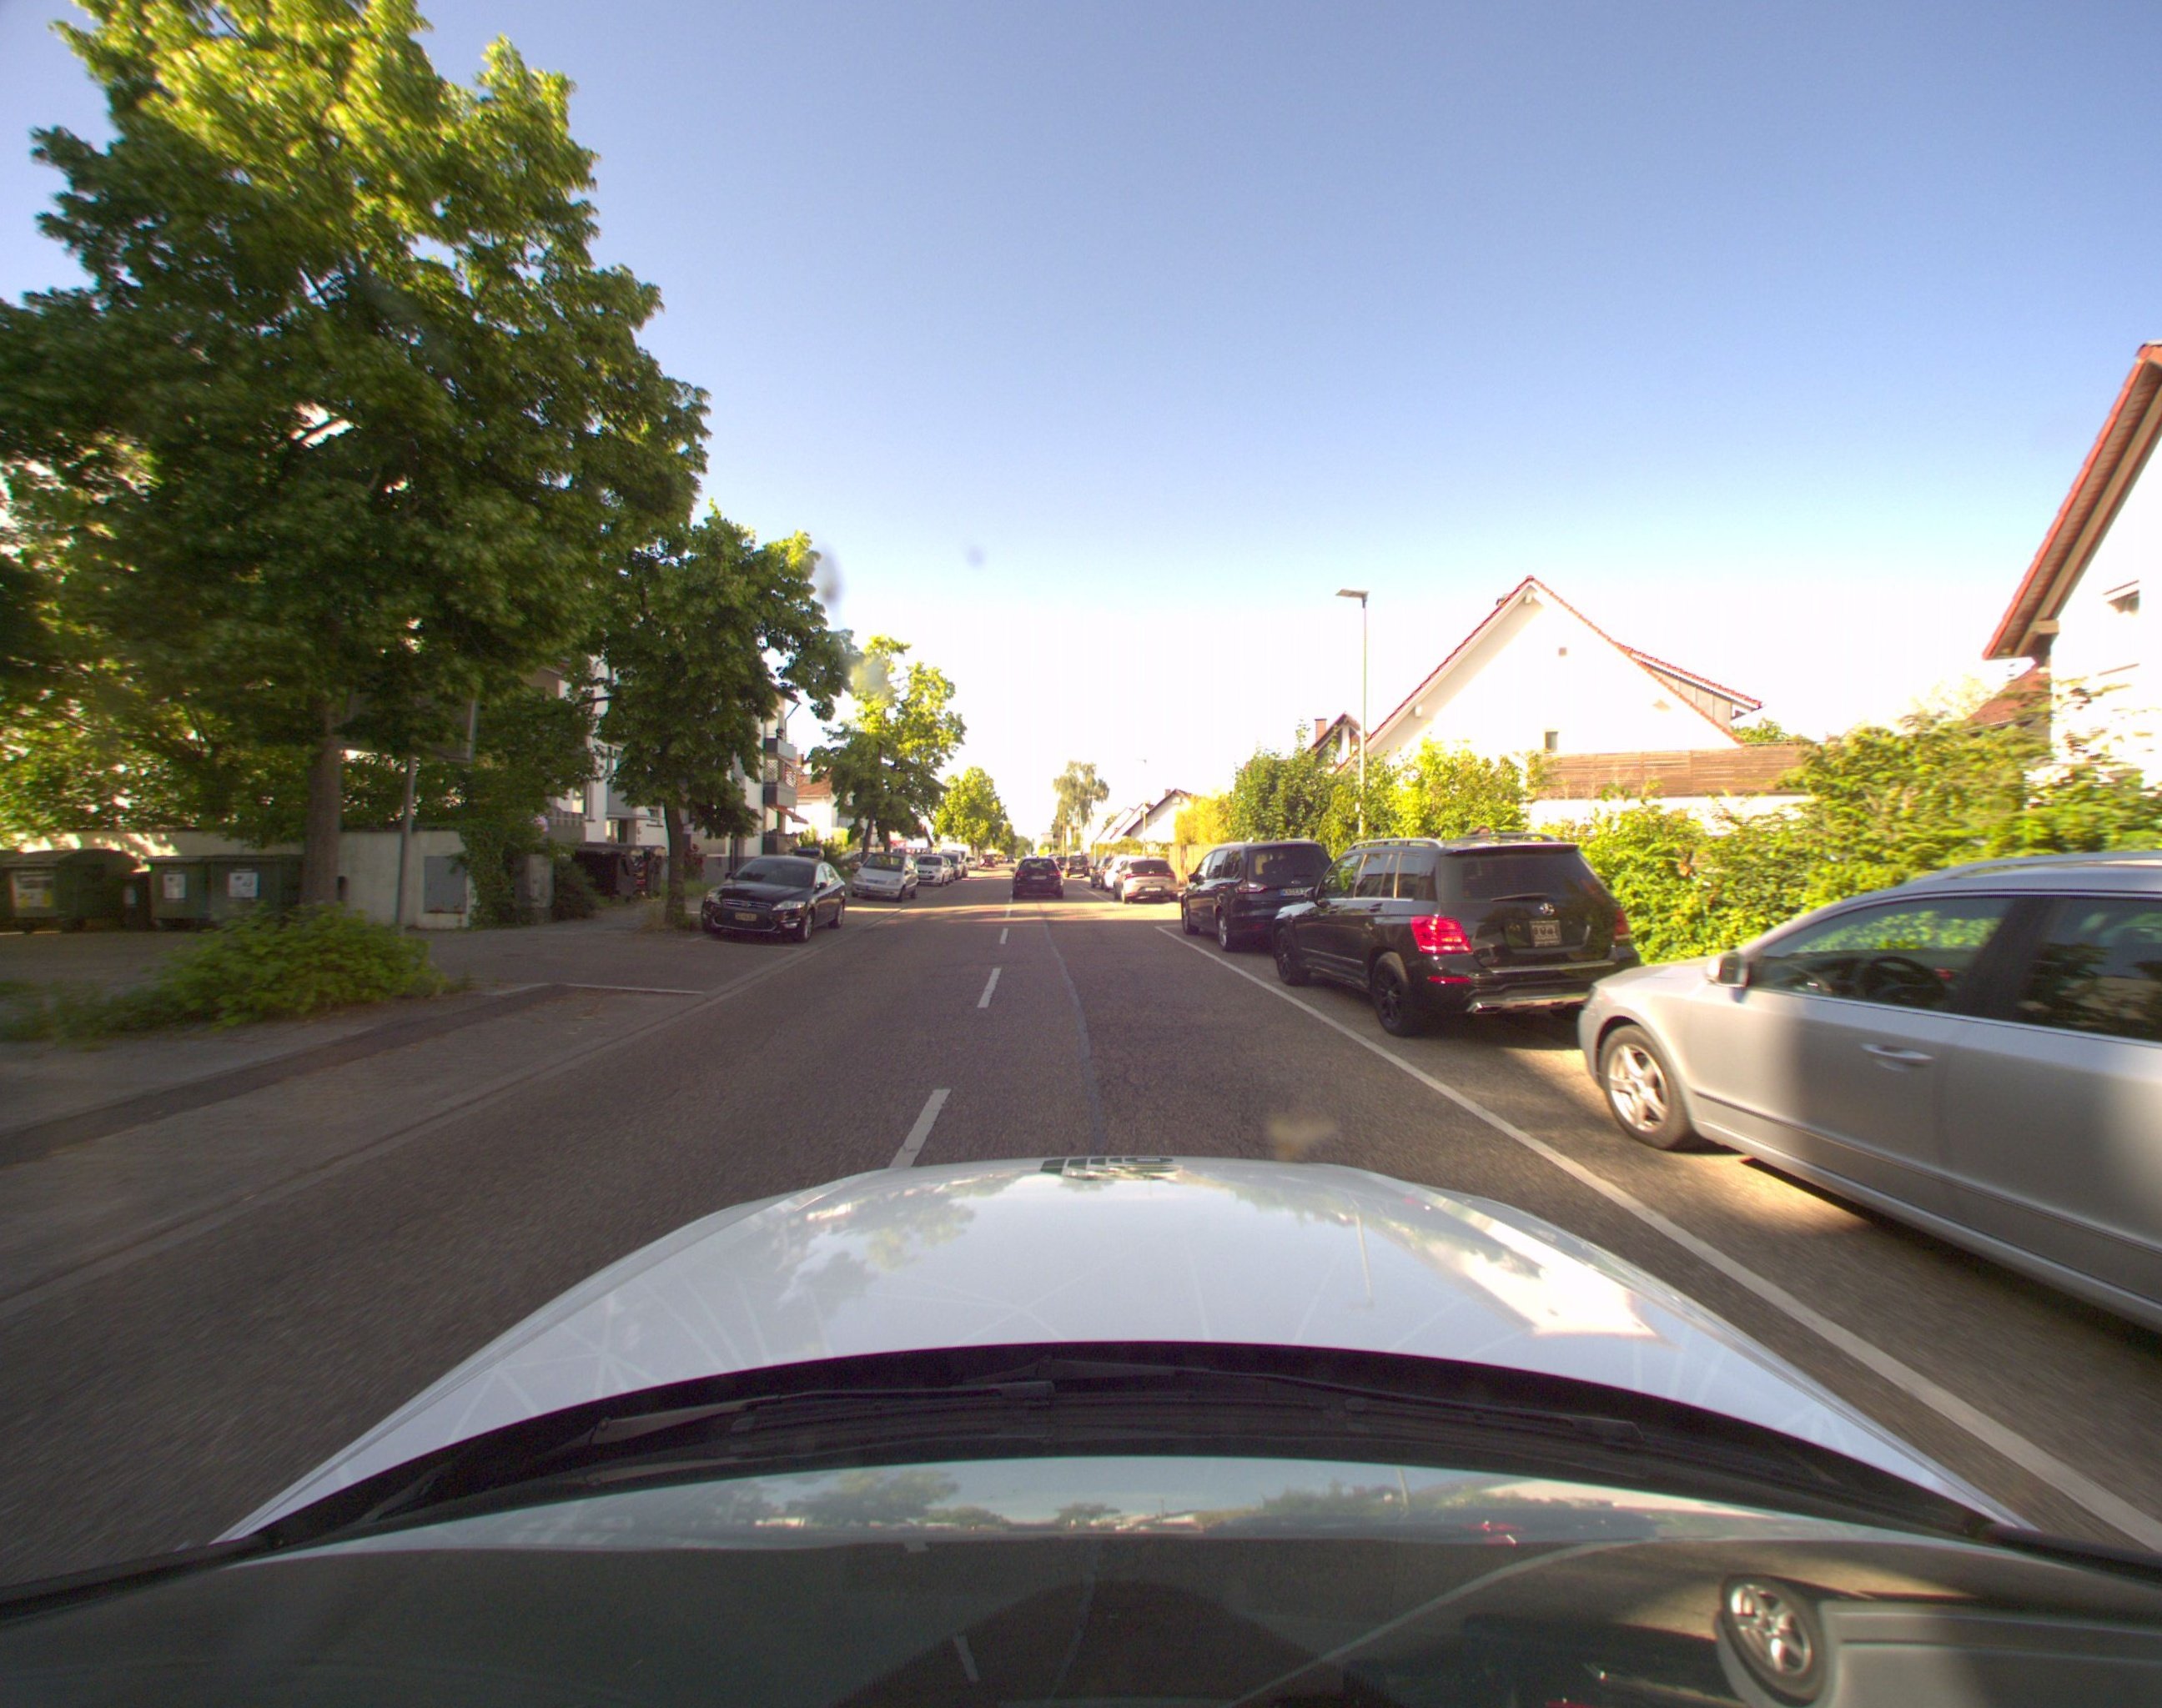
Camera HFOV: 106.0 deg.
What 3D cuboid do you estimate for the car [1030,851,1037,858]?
[{"bbox_3d":[-13.183,0.194,225.349,1.915,1.825,4.073,1,0,-4],"label":"car"}]

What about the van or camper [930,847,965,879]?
[{"bbox_3d":[-8.850,0.553,54.351,1.874,2.013,4.273,1,0,-4],"label":"van or camper"}]

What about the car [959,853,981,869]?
[{"bbox_3d":[-11.085,0.674,81.580,1.683,1.435,4.205,3,0,-2],"label":"car"}]

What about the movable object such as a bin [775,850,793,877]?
[{"bbox_3d":[-14.301,0.453,39.207,0.637,1.279,0.671,1,0,-2],"label":"movable object such as a bin"}]

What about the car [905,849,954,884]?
[{"bbox_3d":[-7.511,0.591,40.660,1.688,1.566,3.904,4,0,-2],"label":"car"}]

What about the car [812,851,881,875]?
[{"bbox_3d":[-15.641,0.611,54.493,1.594,1.513,4.416,1,0,36],"label":"car"}]

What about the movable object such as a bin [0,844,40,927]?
[{"bbox_3d":[-19.486,0.561,14.315,1.116,1.432,0.939,0,3,3],"label":"movable object such as a bin"}]

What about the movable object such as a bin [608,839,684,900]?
[{"bbox_3d":[-11.412,0.405,21.421,1.287,1.543,1.326,1,0,-3],"label":"movable object such as a bin"}]

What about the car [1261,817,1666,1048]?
[{"bbox_3d":[3.319,0.573,8.184,1.760,1.676,4.387,0,0,-5],"label":"car"}]

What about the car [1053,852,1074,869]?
[{"bbox_3d":[-1.719,0.614,79.399,1.773,1.659,3.808,1,0,-6],"label":"car"}]

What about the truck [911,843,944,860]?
[{"bbox_3d":[-29.980,-0.559,159.030,5.639,3.119,2.527,2,0,6],"label":"truck"}]

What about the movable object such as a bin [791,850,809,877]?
[{"bbox_3d":[-13.545,0.448,39.213,0.637,1.279,0.671,1,0,-2],"label":"movable object such as a bin"}]

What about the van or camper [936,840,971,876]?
[{"bbox_3d":[-9.394,0.302,60.566,2.119,2.490,5.545,1,0,-5],"label":"van or camper"}]

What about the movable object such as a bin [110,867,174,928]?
[{"bbox_3d":[-16.356,0.753,14.198,0.505,1.014,0.485,0,3,3],"label":"movable object such as a bin"}]

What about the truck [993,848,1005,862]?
[{"bbox_3d":[-18.678,0.257,185.982,2.398,2.983,6.364,2,-1,-4],"label":"truck"}]

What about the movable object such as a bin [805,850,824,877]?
[{"bbox_3d":[-12.859,0.465,39.262,0.685,1.279,0.671,1,0,-2],"label":"movable object such as a bin"}]

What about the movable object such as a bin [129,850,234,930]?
[{"bbox_3d":[-15.375,0.601,13.933,1.116,1.316,0.568,0,3,3],"label":"movable object such as a bin"}]

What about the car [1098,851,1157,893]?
[{"bbox_3d":[1.865,0.712,33.695,1.723,1.601,3.806,1,0,-8],"label":"car"}]

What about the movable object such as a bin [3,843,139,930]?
[{"bbox_3d":[-17.650,0.544,14.260,1.116,1.432,0.956,0,3,3],"label":"movable object such as a bin"}]

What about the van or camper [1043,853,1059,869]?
[{"bbox_3d":[-3.669,0.848,98.885,1.715,1.891,4.173,1,0,-4],"label":"van or camper"}]

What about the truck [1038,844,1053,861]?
[{"bbox_3d":[-6.402,-0.282,145.331,2.398,2.937,7.005,-2,0,-4],"label":"truck"}]

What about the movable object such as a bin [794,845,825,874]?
[{"bbox_3d":[-14.154,0.277,42.466,1.228,1.482,1.115,1,0,-2],"label":"movable object such as a bin"}]

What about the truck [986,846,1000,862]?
[{"bbox_3d":[-16.773,0.009,155.846,2.399,2.983,7.231,2,-1,-5],"label":"truck"}]

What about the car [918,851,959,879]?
[{"bbox_3d":[-8.134,0.627,46.868,1.605,1.435,4.310,3,0,-2],"label":"car"}]

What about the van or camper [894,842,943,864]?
[{"bbox_3d":[-18.418,-0.128,92.232,4.865,2.320,2.249,1,-1,8],"label":"van or camper"}]

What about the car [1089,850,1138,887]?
[{"bbox_3d":[1.458,0.653,38.066,1.655,1.601,3.806,1,0,-8],"label":"car"}]

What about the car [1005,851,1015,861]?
[{"bbox_3d":[-14.793,0.489,169.506,1.890,2.031,4.811,-1,0,-4],"label":"car"}]

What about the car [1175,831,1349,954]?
[{"bbox_3d":[2.942,0.563,14.253,1.740,1.813,4.421,0,0,-5],"label":"car"}]

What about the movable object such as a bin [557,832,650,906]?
[{"bbox_3d":[-11.140,0.346,19.066,1.409,1.662,1.266,1,0,-3],"label":"movable object such as a bin"}]

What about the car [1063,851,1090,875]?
[{"bbox_3d":[-0.370,0.616,59.897,1.772,1.659,4.298,1,0,-3],"label":"car"}]

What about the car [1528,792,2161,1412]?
[{"bbox_3d":[3.631,0.627,2.807,1.756,1.563,4.664,0,0,2],"label":"car"}]

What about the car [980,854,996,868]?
[{"bbox_3d":[-12.388,0.978,108.771,1.800,1.752,4.335,2,0,-4],"label":"car"}]

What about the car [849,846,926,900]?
[{"bbox_3d":[-6.670,0.619,28.422,1.717,1.593,3.905,6,-1,-2],"label":"car"}]

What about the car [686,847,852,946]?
[{"bbox_3d":[-5.803,0.712,15.771,1.719,1.494,4.534,6,-1,-6],"label":"car"}]

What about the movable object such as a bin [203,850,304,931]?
[{"bbox_3d":[-14.055,0.608,13.850,1.084,1.316,0.568,0,3,3],"label":"movable object such as a bin"}]

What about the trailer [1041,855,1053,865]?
[{"bbox_3d":[-5.065,0.899,121.306,1.624,1.538,3.194,1,0,-3],"label":"trailer"}]

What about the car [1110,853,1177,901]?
[{"bbox_3d":[2.008,0.704,27.239,1.639,1.494,3.882,0,0,-5],"label":"car"}]

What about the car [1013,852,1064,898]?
[{"bbox_3d":[-1.540,0.703,29.229,1.708,1.532,3.683,0,0,-3],"label":"car"}]

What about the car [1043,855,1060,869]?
[{"bbox_3d":[-3.405,0.888,93.441,1.715,1.505,3.558,1,0,-4],"label":"car"}]

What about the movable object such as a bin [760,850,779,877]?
[{"bbox_3d":[-14.989,0.457,39.186,0.637,1.279,0.671,1,0,-2],"label":"movable object such as a bin"}]
